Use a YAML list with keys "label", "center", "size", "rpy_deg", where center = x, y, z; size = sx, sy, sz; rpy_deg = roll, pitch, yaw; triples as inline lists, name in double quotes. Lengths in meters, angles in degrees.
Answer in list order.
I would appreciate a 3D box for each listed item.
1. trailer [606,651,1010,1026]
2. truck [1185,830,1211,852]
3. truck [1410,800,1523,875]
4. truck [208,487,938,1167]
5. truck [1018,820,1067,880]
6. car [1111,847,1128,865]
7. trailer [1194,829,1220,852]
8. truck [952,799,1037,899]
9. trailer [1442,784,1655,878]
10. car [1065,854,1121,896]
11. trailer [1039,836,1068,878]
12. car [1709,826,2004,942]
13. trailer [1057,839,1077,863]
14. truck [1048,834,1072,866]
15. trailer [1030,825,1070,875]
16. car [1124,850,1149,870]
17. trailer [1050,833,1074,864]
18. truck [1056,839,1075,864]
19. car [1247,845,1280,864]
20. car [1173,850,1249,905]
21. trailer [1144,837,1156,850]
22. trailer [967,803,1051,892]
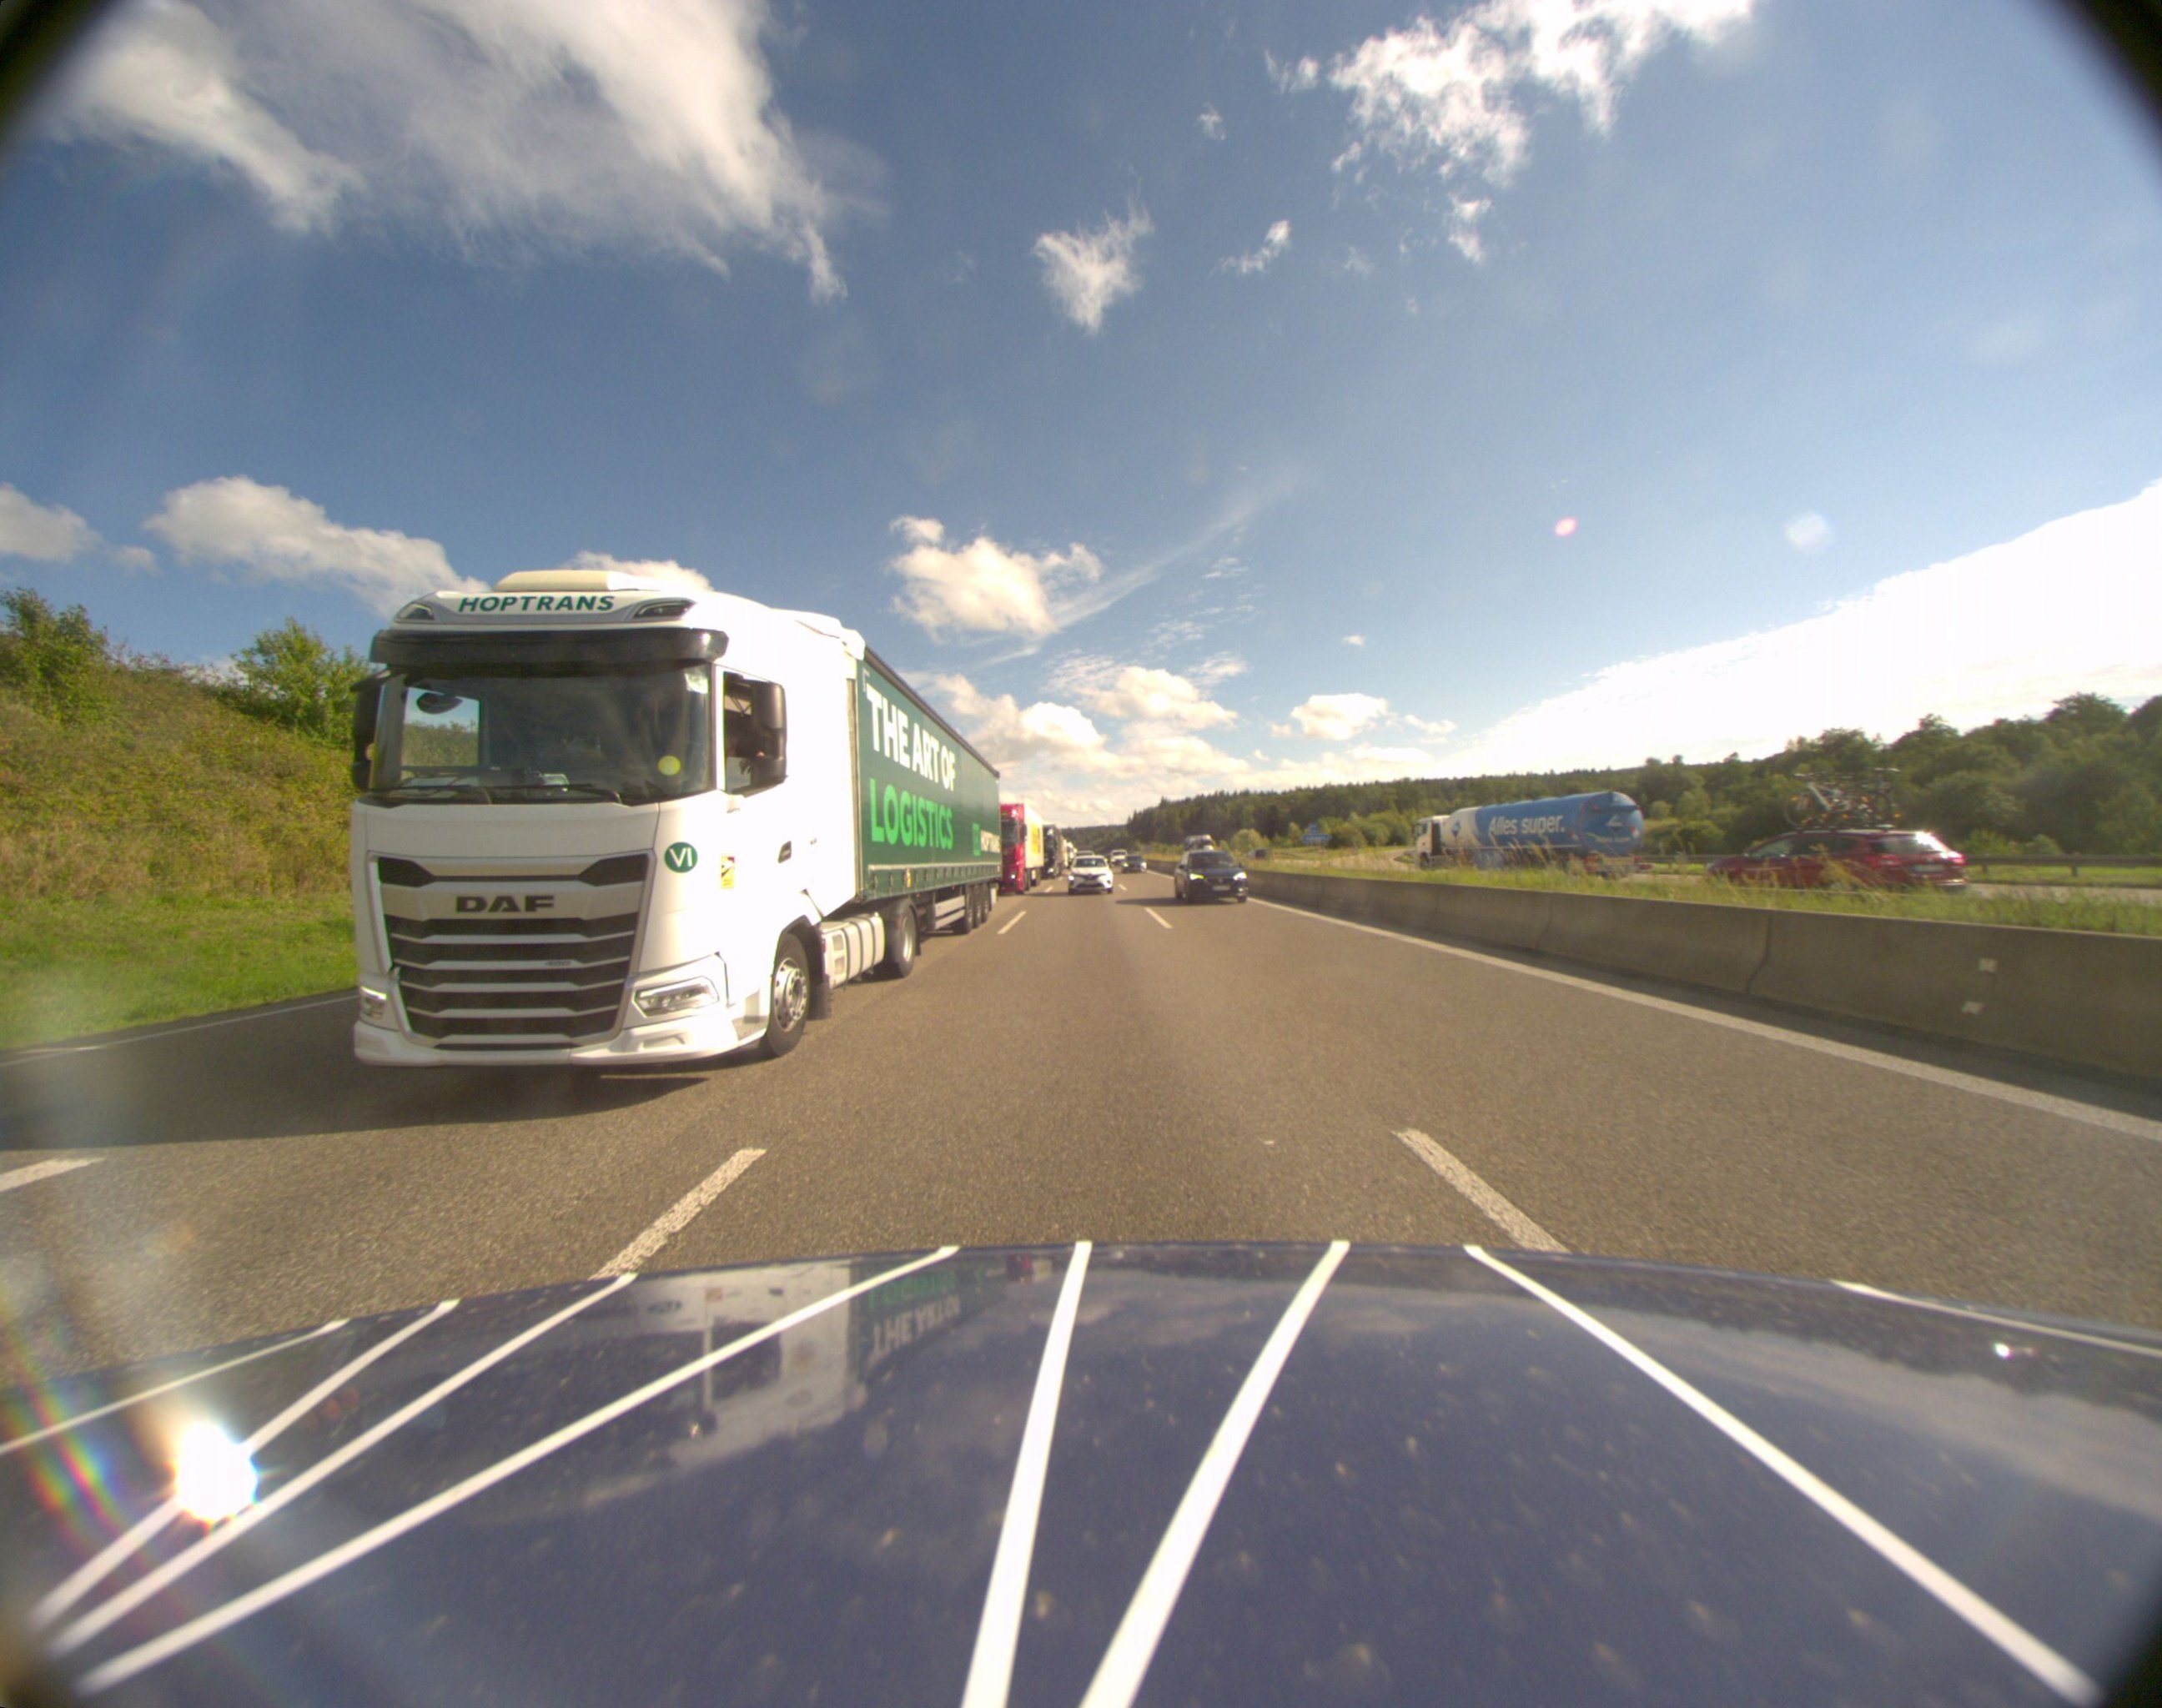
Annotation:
- label: "trailer"
  center: [-3.496, -0.225, 14.690]
  size: [2.668, 3.846, 13.393]
  rpy_deg: [-2, 1, 1]
- label: "truck"
  center: [20.646, -2.316, 134.556]
  size: [2.838, 3.667, 11.131]
  rpy_deg: [-2, 1, 1]
- label: "truck"
  center: [19.141, -0.794, 38.152]
  size: [2.323, 3.255, 6.104]
  rpy_deg: [-5, 1, 0]
- label: "truck"
  center: [-3.589, -0.170, 7.905]
  size: [2.653, 3.846, 6.995]
  rpy_deg: [-2, 1, 1]
- label: "truck"
  center: [-2.782, -0.338, 58.338]
  size: [2.747, 4.015, 10.201]
  rpy_deg: [-5, 1, 1]
- label: "car"
  center: [4.322, 0.189, 85.860]
  size: [1.779, 1.923, 4.214]
  rpy_deg: [-2, 0, 1]
- label: "trailer"
  center: [20.538, -2.152, 124.501]
  size: [2.806, 3.508, 8.953]
  rpy_deg: [-2, 1, 1]
- label: "truck"
  center: [-3.666, -0.236, 33.696]
  size: [2.809, 3.916, 5.825]
  rpy_deg: [-3, 1, 1]
- label: "trailer"
  center: [19.161, -0.829, 32.392]
  size: [2.327, 3.265, 10.874]
  rpy_deg: [-2, 0, 0]
- label: "car"
  center: [0.554, 0.796, 31.367]
  size: [2.026, 1.511, 5.299]
  rpy_deg: [-3, 0, 2]
- label: "trailer"
  center: [-2.826, 0.284, 80.525]
  size: [2.418, 4.045, 8.926]
  rpy_deg: [-5, 0, 0]
- label: "car"
  center: [15.179, 0.500, 15.255]
  size: [1.764, 1.871, 3.999]
  rpy_deg: [-5, 1, 1]
- label: "trailer"
  center: [-2.453, -0.539, 137.154]
  size: [2.652, 3.911, 11.175]
  rpy_deg: [-5, 0, 2]
- label: "truck"
  center: [-2.900, -0.598, 106.658]
  size: [2.654, 4.066, 6.491]
  rpy_deg: [-5, 1, 2]
- label: "trailer"
  center: [-2.621, -0.363, 67.733]
  size: [2.722, 3.937, 8.711]
  rpy_deg: [-5, 0, 1]
- label: "car"
  center: [4.515, 0.476, 62.635]
  size: [1.779, 1.451, 4.158]
  rpy_deg: [-2, 1, 1]
- label: "trailer"
  center: [-2.756, -0.863, 114.399]
  size: [2.648, 4.074, 13.979]
  rpy_deg: [-5, 1, 1]
- label: "truck"
  center: [-2.652, -0.451, 131.000]
  size: [2.655, 3.902, 6.942]
  rpy_deg: [-5, 0, 2]
- label: "car"
  center: [14.587, 0.020, 60.875]
  size: [1.694, 1.274, 3.708]
  rpy_deg: [-5, 1, 1]
- label: "car"
  center: [4.057, 0.690, 24.323]
  size: [1.779, 1.533, 4.158]
  rpy_deg: [-2, 1, 1]
- label: "trailer"
  center: [21.231, -3.224, 233.154]
  size: [2.839, 3.969, 13.549]
  rpy_deg: [-3, 1, 3]
- label: "trailer"
  center: [-3.512, -0.361, 40.938]
  size: [2.798, 3.916, 13.069]
  rpy_deg: [-3, 1, 1]
